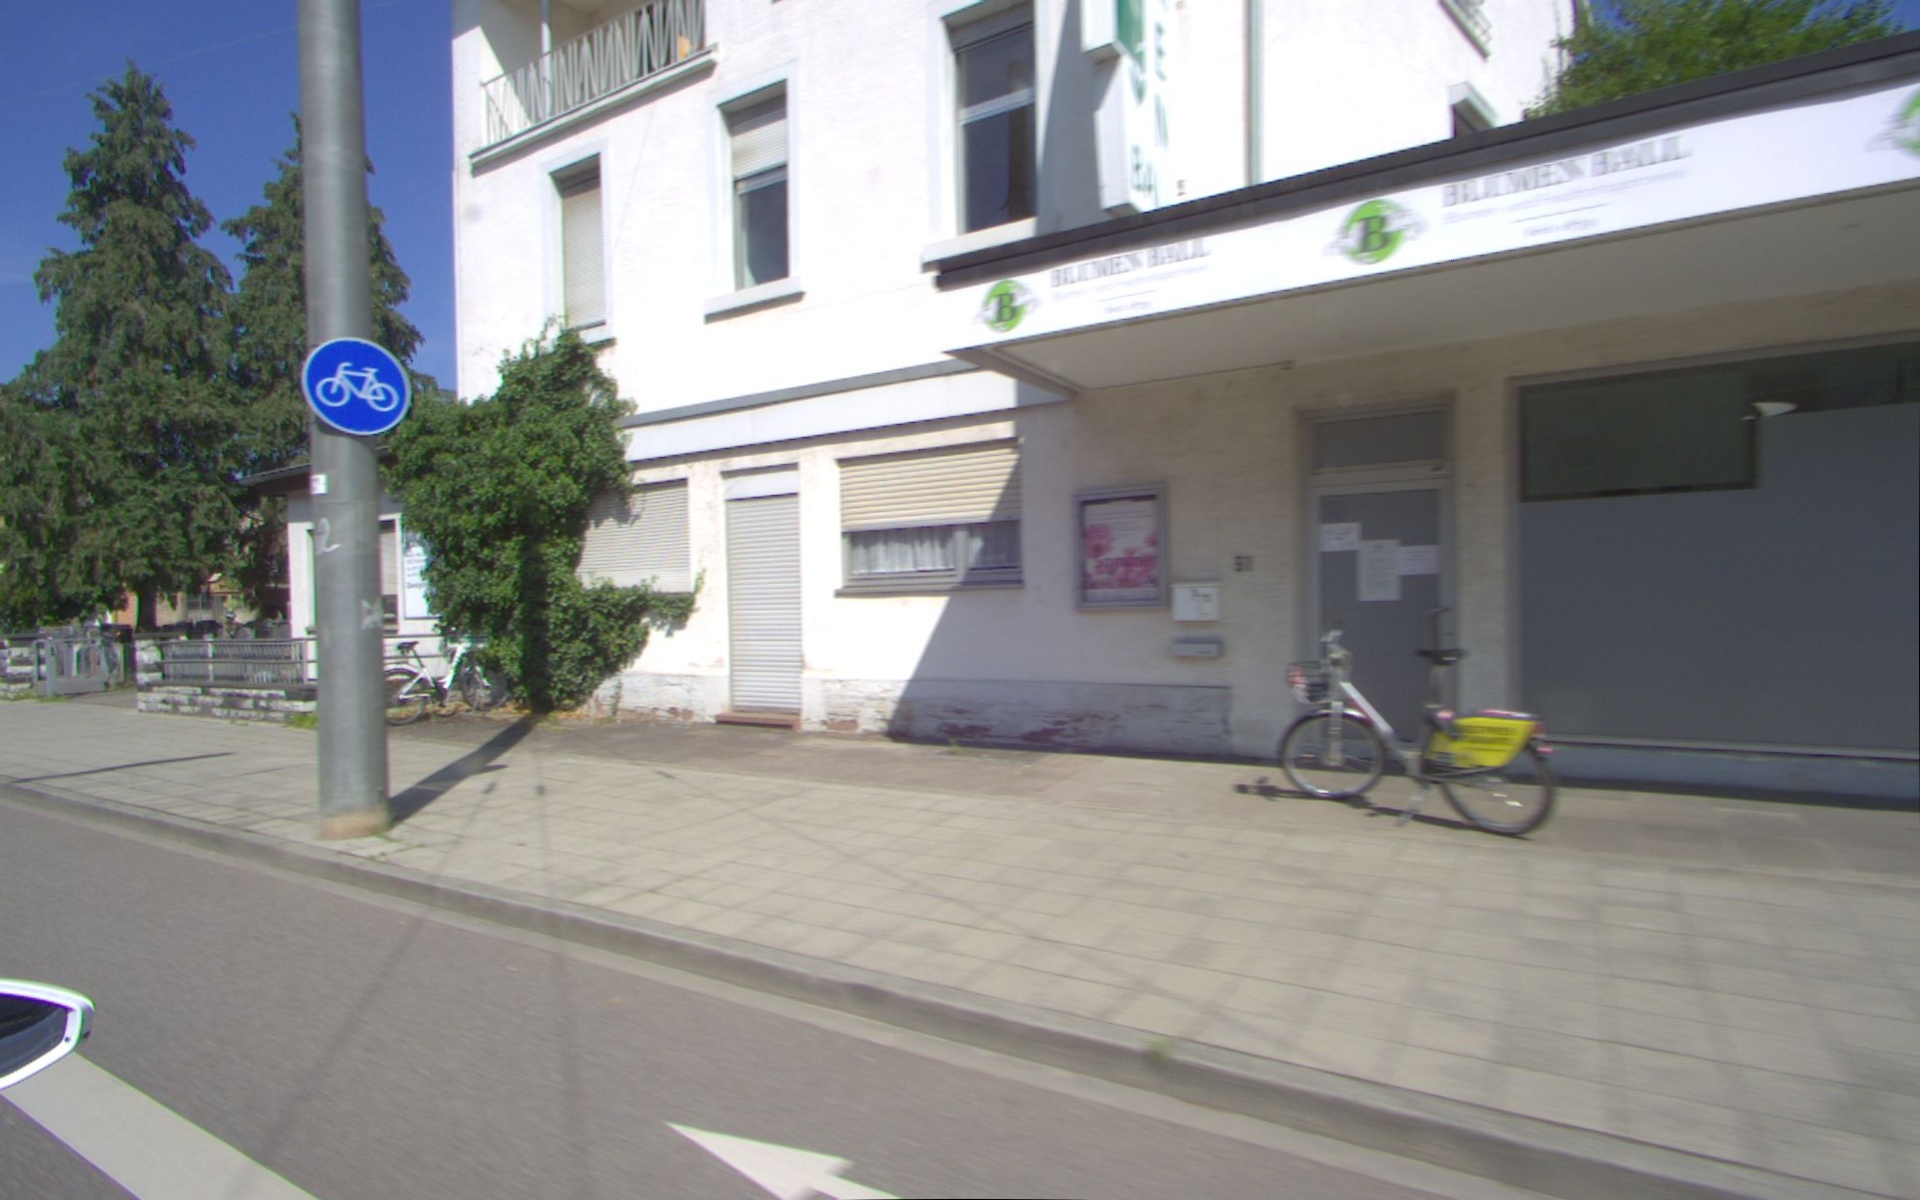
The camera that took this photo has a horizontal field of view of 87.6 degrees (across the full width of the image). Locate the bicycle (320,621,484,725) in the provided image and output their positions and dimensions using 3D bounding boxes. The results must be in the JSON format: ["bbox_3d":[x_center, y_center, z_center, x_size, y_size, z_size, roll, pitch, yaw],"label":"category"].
[{"bbox_3d":[-6.878,0.862,12.434,0.518,1.145,1.707,-1,1,34],"label":"bicycle"}]

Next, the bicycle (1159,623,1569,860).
[{"bbox_3d":[2.316,0.725,5.994,0.721,1.155,2.172,-2,1,-45],"label":"bicycle"}]
